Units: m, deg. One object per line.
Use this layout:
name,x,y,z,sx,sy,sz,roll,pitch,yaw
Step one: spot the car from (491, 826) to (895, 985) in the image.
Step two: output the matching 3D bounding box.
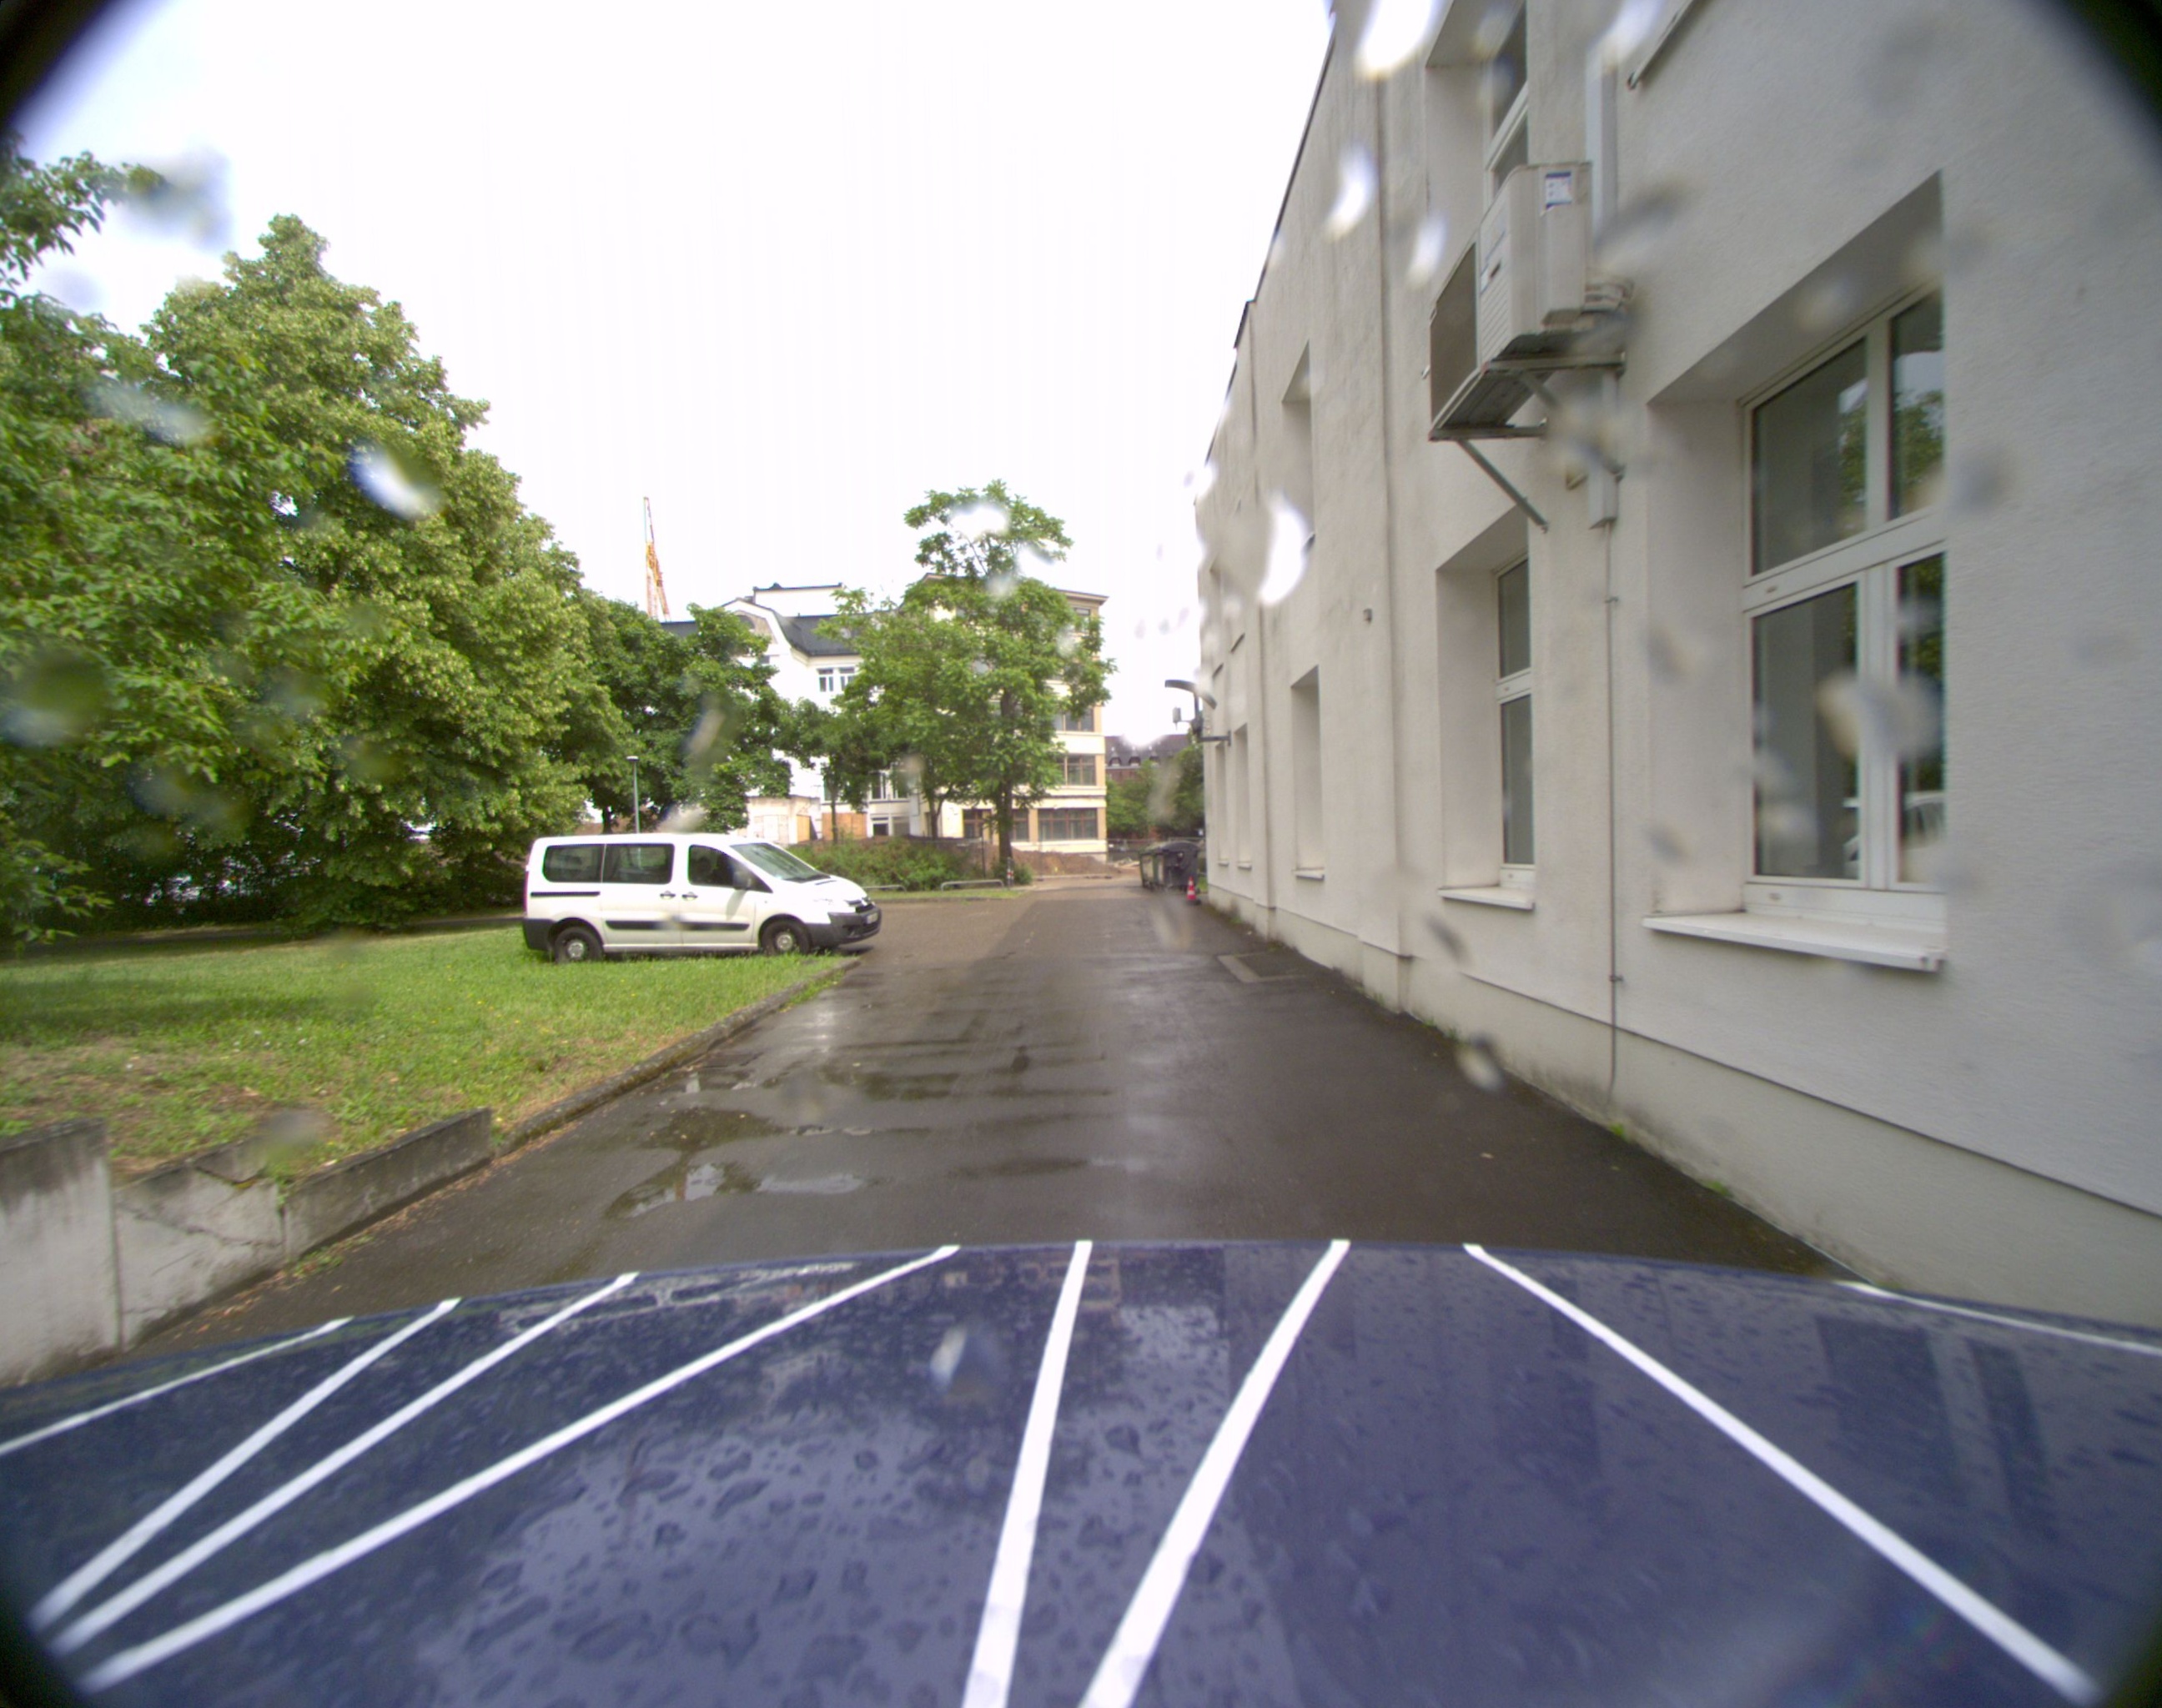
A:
car,-5.569,0.702,11.346,4.947,2.002,2.000,-2,1,4

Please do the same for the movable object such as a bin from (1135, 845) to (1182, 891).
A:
movable object such as a bin,2.684,0.482,26.613,1.412,1.462,1.561,-3,0,0

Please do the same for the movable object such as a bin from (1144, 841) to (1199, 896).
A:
movable object such as a bin,2.621,0.407,22.194,1.363,1.462,1.365,-3,0,0

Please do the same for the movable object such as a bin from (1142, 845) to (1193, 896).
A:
movable object such as a bin,2.655,0.496,23.598,1.363,1.462,1.352,-3,0,0

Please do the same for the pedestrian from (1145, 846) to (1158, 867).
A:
pedestrian,5.186,0.209,56.013,0.650,1.500,0.623,-2,1,-40

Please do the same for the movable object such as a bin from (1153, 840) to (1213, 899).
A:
movable object such as a bin,2.729,0.399,20.484,1.363,1.462,1.365,-3,0,0

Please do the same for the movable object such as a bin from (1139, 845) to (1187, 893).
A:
movable object such as a bin,2.686,0.472,25.058,1.363,1.462,1.465,-3,0,0
